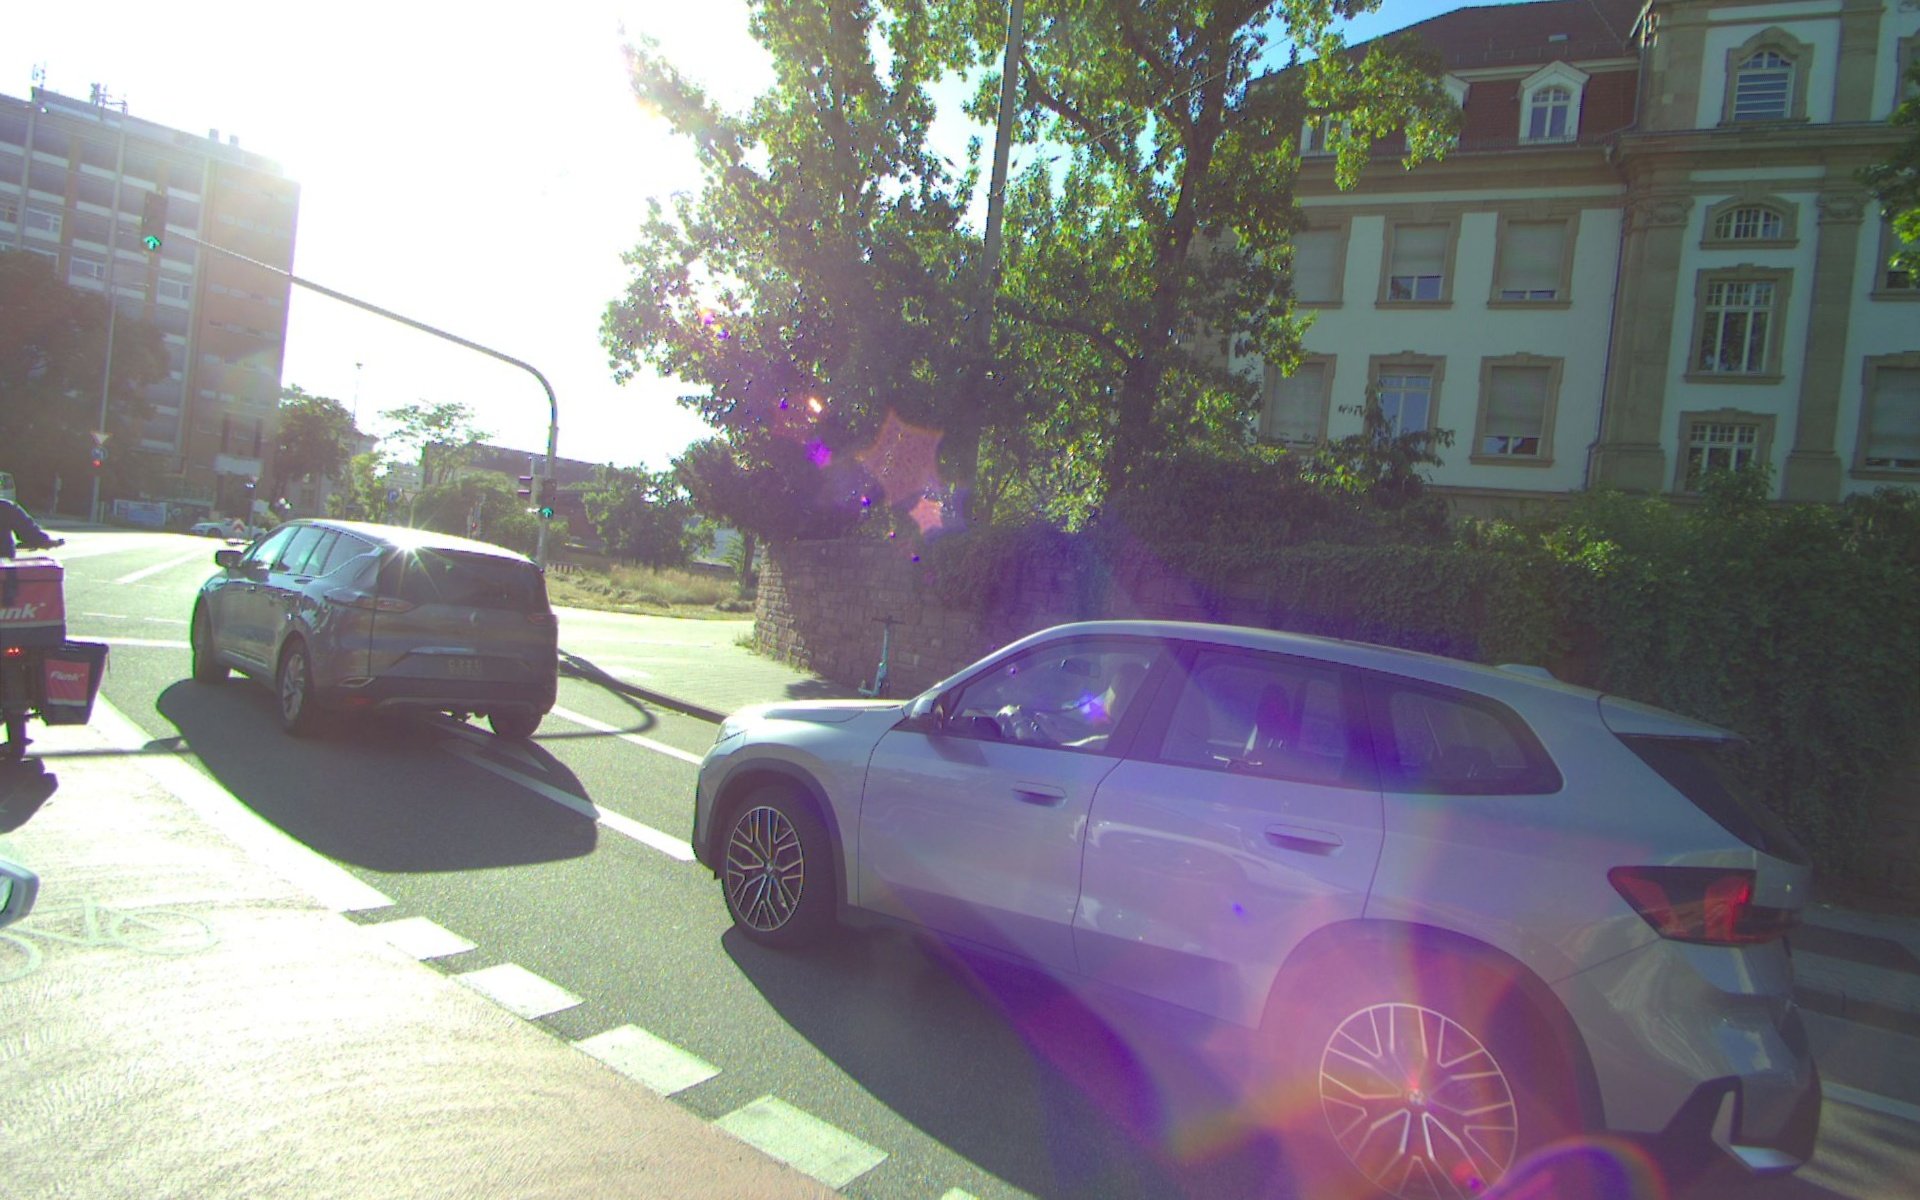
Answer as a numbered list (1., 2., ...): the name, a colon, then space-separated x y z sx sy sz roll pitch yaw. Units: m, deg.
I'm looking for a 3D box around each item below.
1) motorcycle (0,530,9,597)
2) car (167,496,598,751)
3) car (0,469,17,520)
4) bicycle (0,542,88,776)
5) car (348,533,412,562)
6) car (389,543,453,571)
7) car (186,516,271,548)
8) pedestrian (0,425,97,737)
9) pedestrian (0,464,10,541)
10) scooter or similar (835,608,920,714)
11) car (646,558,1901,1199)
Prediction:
1. motorcycle: -10.091 -0.181 10.059 0.611 1.110 2.334 8 -2 -40
2. car: -5.275 0.119 8.934 4.307 1.709 1.830 6 -2 40
3. car: -39.082 -4.275 39.840 1.897 1.970 4.660 4 1 -36
4. bicycle: -5.936 0.260 6.126 2.340 1.185 0.553 6 -2 42
5. car: -43.363 -3.897 75.224 3.959 1.592 1.722 9 -2 -31
6. car: -38.705 -3.081 72.356 3.952 1.549 1.792 6 1 -28
7. car: -46.859 -4.346 64.482 1.777 1.549 3.986 6 1 36
8. pedestrian: -6.219 -0.147 6.393 0.943 1.890 0.806 6 -1 40
9. pedestrian: -9.940 -0.583 9.946 0.585 1.617 1.013 8 -1 -41
10. scooter or similar: -1.158 0.818 13.882 0.569 1.285 1.414 6 0 -27
11. car: 0.823 0.881 4.243 4.263 1.612 1.788 6 -2 37
